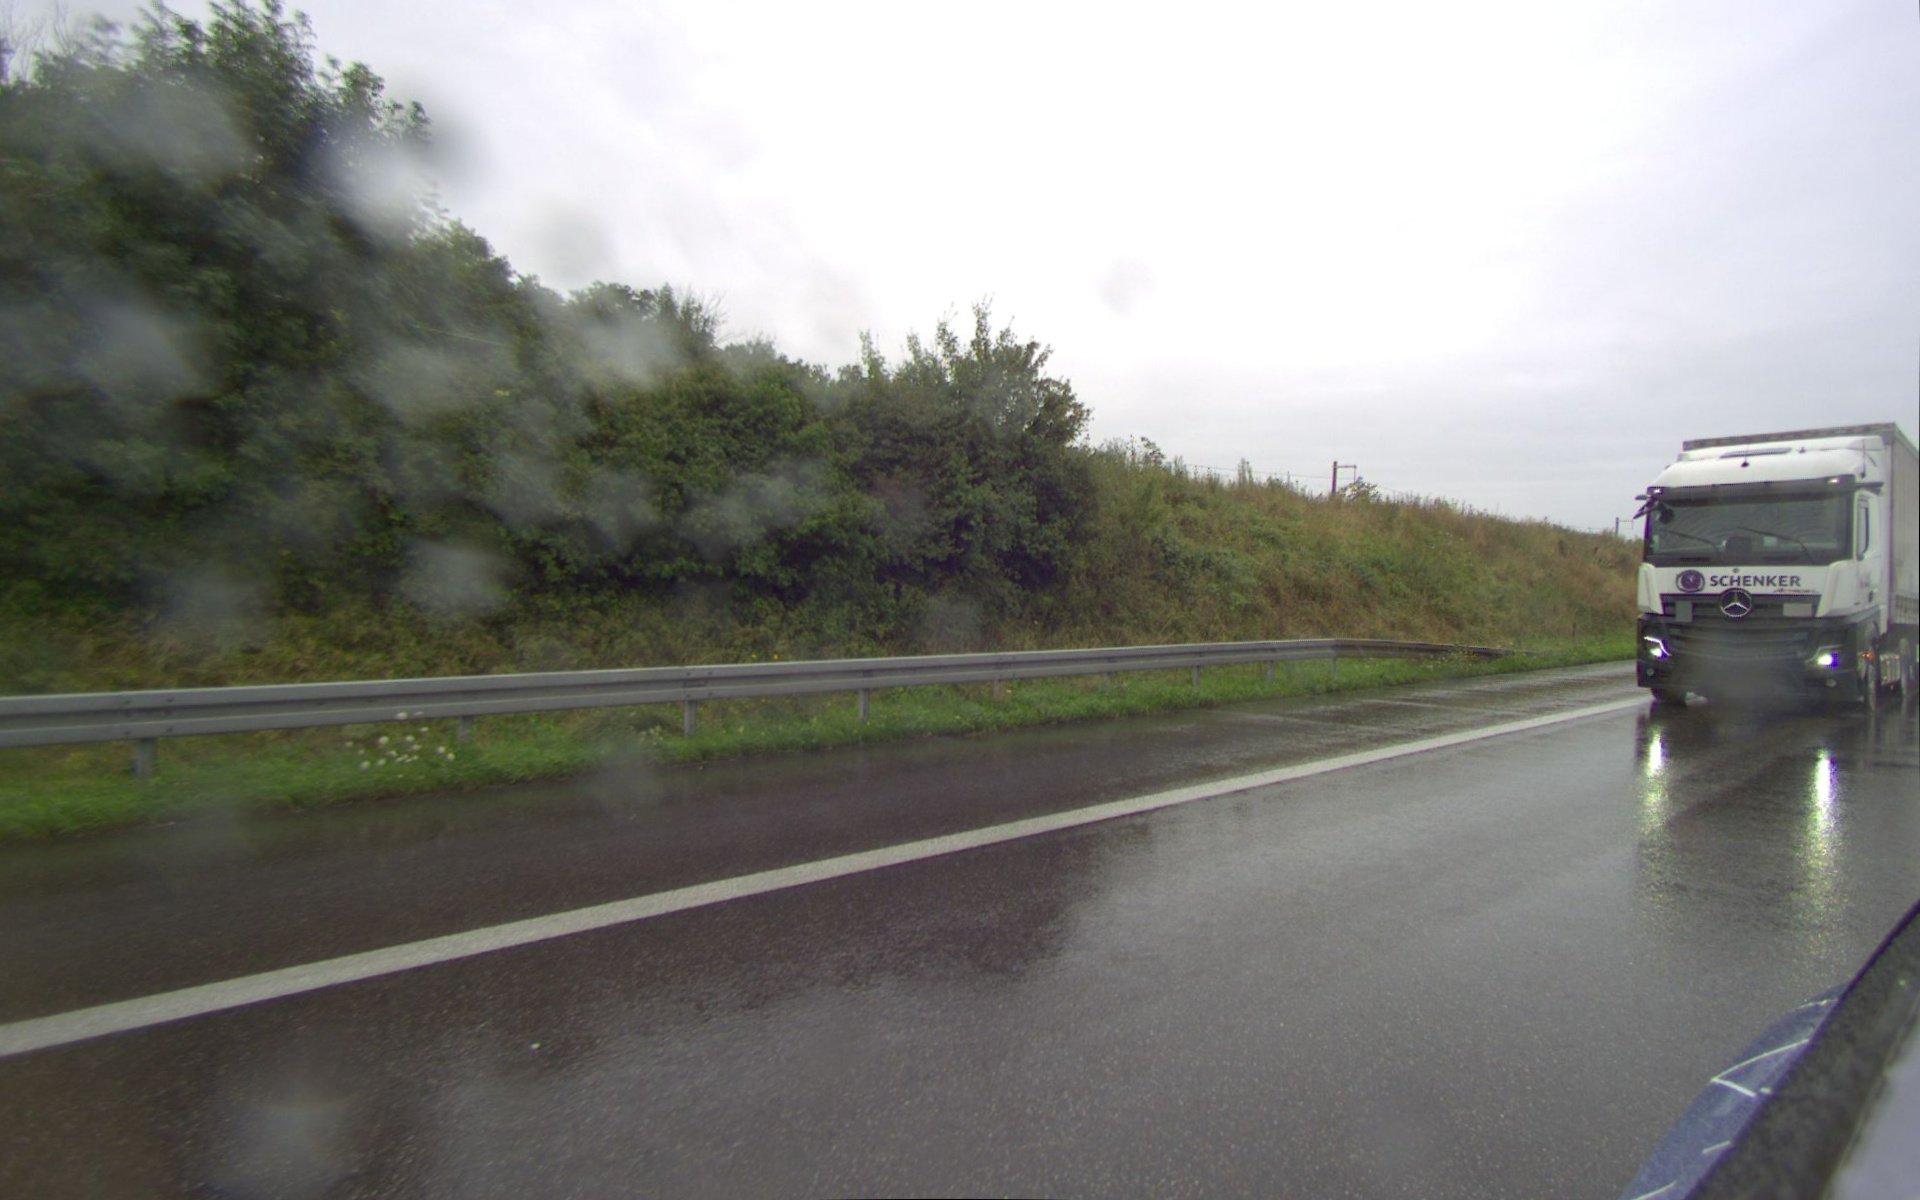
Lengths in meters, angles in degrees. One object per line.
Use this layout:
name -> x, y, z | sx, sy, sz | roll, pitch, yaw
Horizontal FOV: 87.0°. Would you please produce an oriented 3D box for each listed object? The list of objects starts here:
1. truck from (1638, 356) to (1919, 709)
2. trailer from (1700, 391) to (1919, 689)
truck -> 12.286, -0.853, 14.973 | 4.956, 4.307, 2.630 | 0, 0, -42
trailer -> 18.219, -0.921, 20.214 | 13.930, 4.302, 2.631 | 0, 0, -41
